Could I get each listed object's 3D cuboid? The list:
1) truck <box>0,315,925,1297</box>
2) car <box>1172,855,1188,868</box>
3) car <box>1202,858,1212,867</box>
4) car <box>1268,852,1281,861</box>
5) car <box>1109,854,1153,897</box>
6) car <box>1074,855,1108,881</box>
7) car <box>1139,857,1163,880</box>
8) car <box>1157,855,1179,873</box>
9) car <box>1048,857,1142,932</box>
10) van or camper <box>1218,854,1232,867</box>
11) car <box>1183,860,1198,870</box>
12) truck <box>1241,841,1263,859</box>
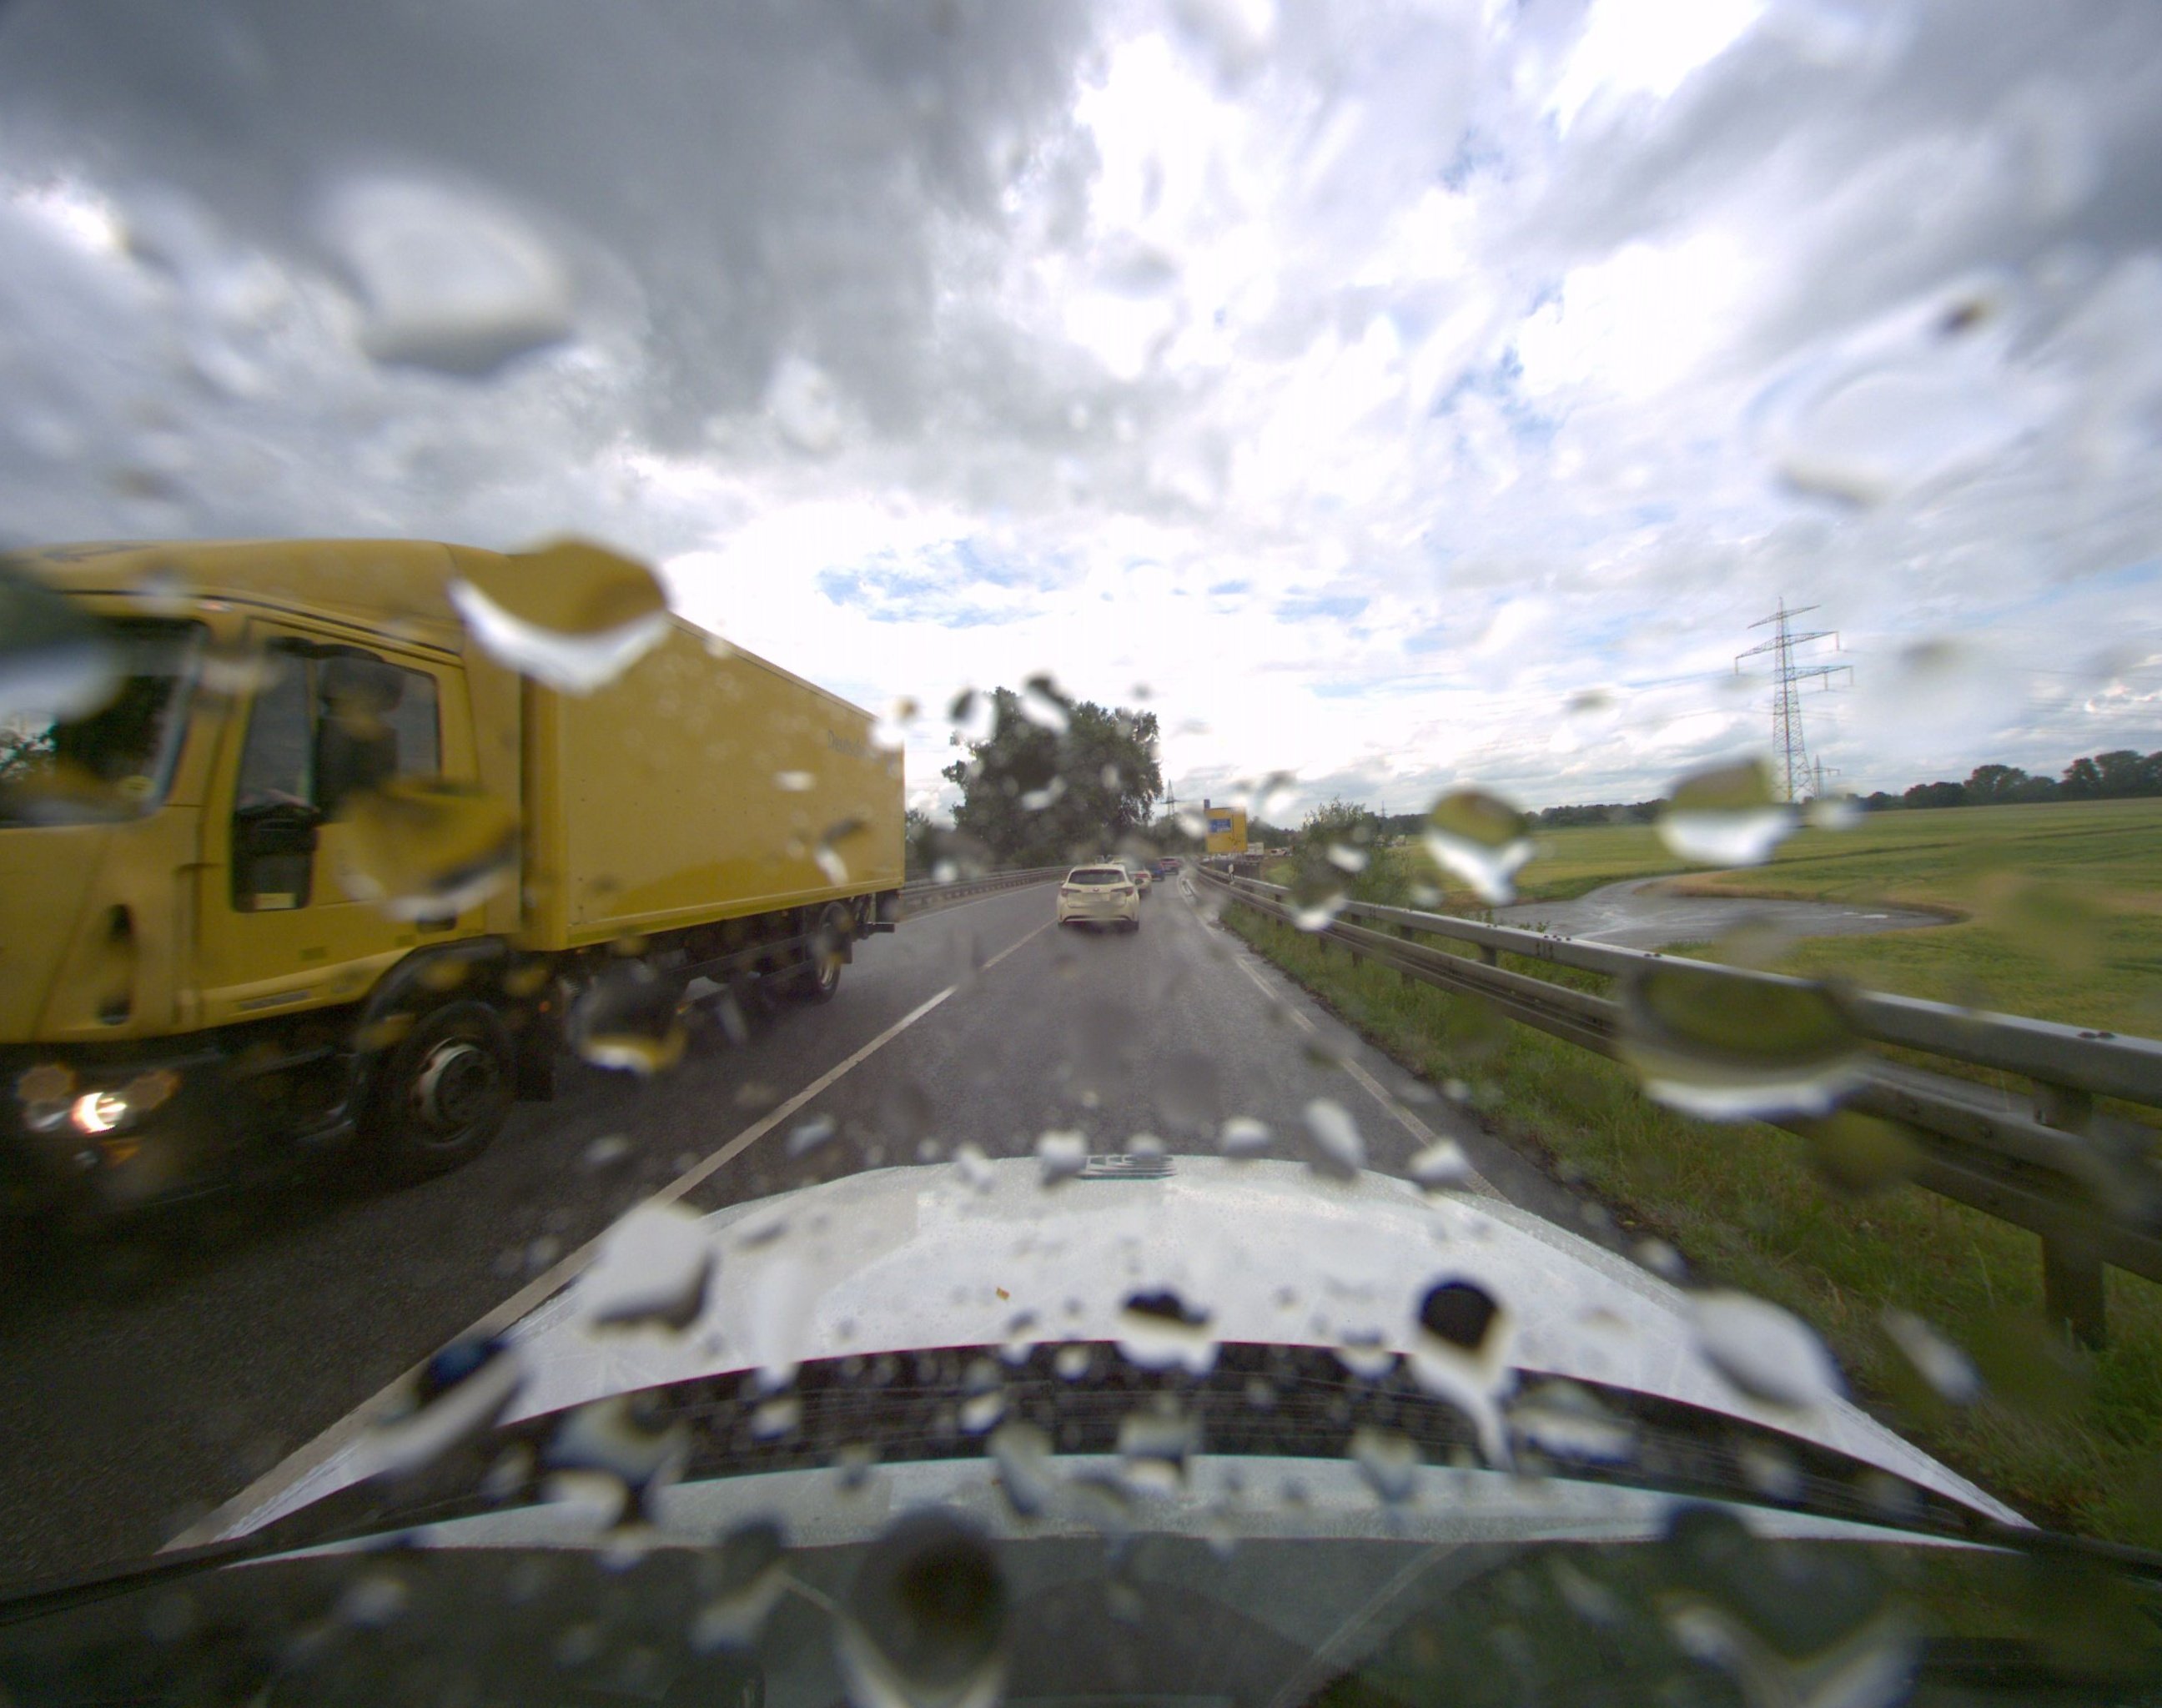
[{"bbox_3d":[-3.972,-0.130,7.484,2.759,3.429,9.194,-1,0,3],"label":"truck"},{"bbox_3d":[11.537,0.848,94.662,1.650,1.409,3.914,-1,-2,9],"label":"car"},{"bbox_3d":[19.410,1.269,125.364,1.473,1.309,3.487,-1,-1,10],"label":"car"},{"bbox_3d":[44.769,0.496,188.482,2.146,2.014,4.023,-1,-1,27],"label":"car"},{"bbox_3d":[2.006,0.800,31.712,1.570,1.572,3.686,-1,-1,5],"label":"car"},{"bbox_3d":[0.717,0.912,54.658,1.737,1.654,4.533,-1,0,7],"label":"car"},{"bbox_3d":[4.525,0.907,52.412,1.498,1.437,3.361,-1,-1,6],"label":"car"},{"bbox_3d":[7.335,0.819,68.468,1.655,1.464,3.486,-1,-1,9],"label":"car"},{"bbox_3d":[0.434,0.860,18.883,1.897,1.537,4.166,-1,-1,4],"label":"car"},{"bbox_3d":[25.346,1.134,143.353,1.979,2.254,4.016,-1,-1,15],"label":"van or camper"},{"bbox_3d":[14.601,1.445,108.245,1.471,1.309,3.491,-1,-1,15],"label":"car"},{"bbox_3d":[35.590,-0.795,169.245,3.112,3.562,7.563,-1,-1,23],"label":"truck"}]
